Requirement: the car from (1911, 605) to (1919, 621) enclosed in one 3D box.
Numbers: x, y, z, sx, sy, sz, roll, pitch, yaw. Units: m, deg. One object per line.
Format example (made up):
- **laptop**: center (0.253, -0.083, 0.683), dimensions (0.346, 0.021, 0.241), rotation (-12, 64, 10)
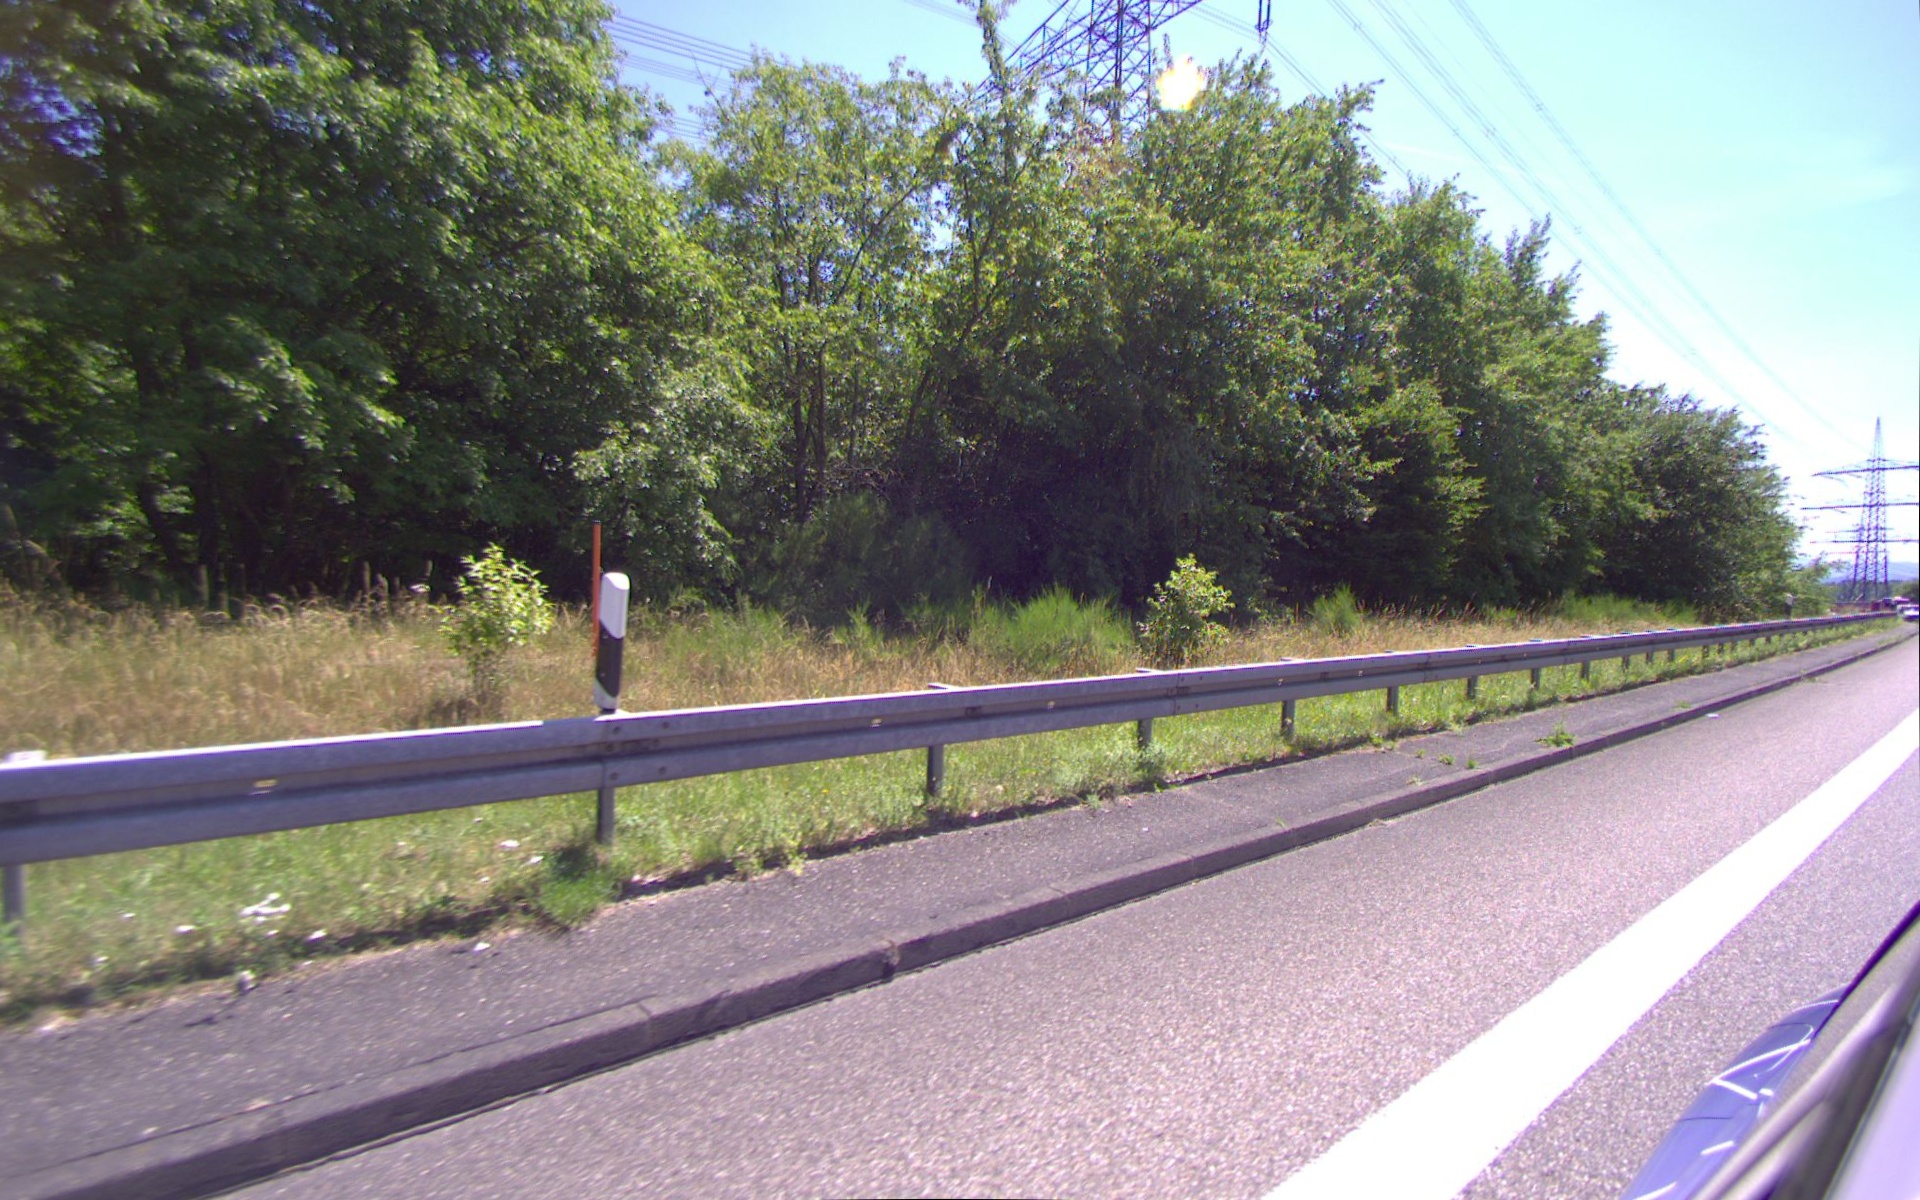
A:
- **car**: center (103.097, 1.427, 108.022), dimensions (1.991, 1.705, 3.943), rotation (1, 0, 39)
